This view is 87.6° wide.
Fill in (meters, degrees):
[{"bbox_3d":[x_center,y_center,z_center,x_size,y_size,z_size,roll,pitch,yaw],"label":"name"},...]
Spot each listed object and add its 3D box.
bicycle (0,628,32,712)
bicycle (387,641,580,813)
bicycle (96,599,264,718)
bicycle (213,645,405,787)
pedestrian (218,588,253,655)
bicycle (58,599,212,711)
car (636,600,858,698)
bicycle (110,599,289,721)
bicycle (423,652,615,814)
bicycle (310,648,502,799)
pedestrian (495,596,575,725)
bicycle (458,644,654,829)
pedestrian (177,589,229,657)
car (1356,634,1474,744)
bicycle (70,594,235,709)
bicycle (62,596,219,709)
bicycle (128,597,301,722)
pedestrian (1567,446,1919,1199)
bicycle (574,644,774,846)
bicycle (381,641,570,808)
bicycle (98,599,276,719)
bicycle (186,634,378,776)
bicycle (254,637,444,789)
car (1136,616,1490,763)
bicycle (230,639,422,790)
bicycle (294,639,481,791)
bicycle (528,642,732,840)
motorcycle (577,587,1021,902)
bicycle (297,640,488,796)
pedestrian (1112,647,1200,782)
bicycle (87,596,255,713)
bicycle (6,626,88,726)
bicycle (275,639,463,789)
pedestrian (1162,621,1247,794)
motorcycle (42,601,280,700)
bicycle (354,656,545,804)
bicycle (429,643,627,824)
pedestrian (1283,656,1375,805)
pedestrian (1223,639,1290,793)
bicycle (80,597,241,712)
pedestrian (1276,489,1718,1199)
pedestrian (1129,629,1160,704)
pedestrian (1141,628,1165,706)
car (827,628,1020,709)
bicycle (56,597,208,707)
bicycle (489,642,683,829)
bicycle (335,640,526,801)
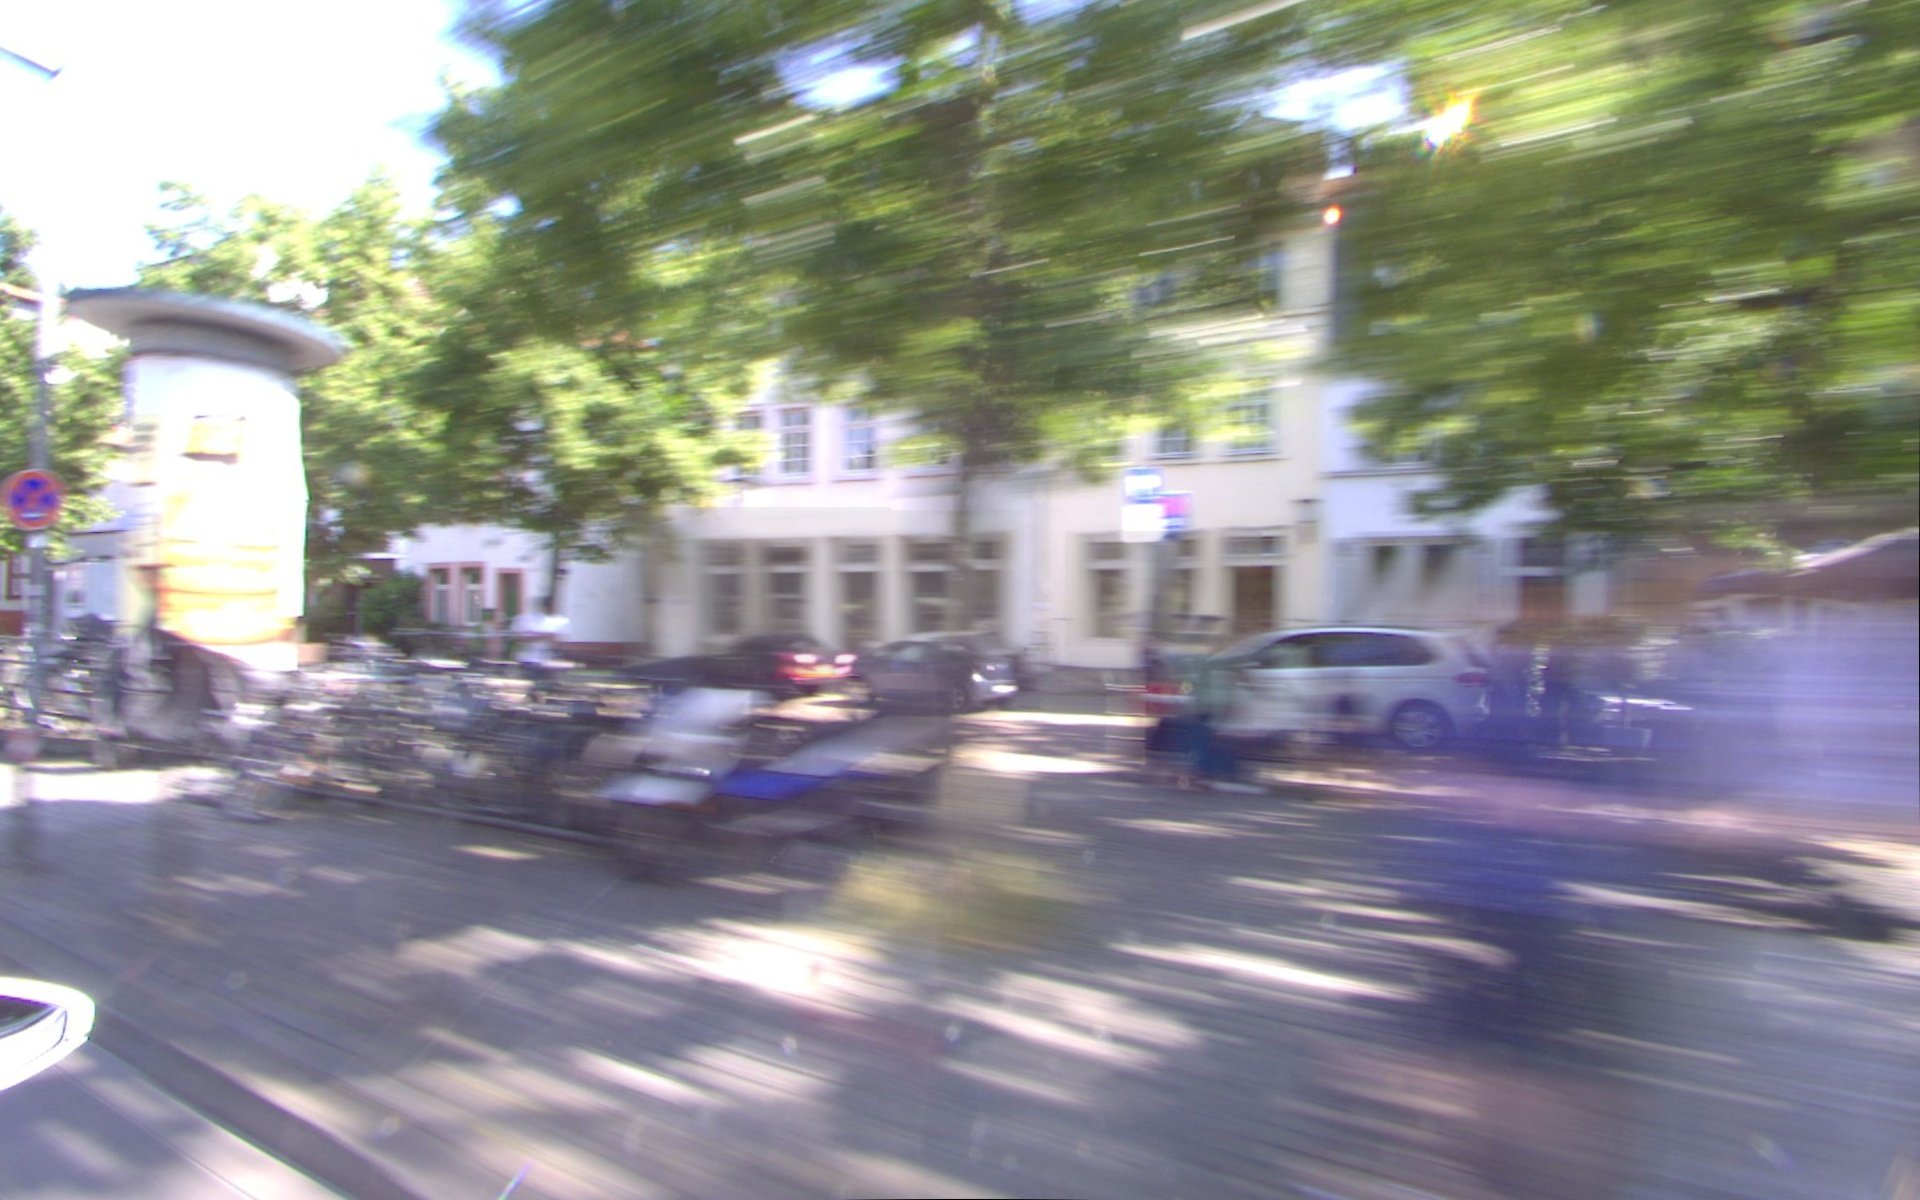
[{"bbox_3d":[-12.244,0.867,12.690,1.466,1.023,0.250,0,-2,29],"label":"bicycle"},{"bbox_3d":[-3.496,0.883,7.475,0.247,1.134,1.484,0,-1,25],"label":"bicycle"},{"bbox_3d":[-10.513,0.775,13.572,0.265,1.502,1.825,0,-2,28],"label":"bicycle"},{"bbox_3d":[-5.644,0.968,8.778,0.247,1.134,1.484,0,-2,25],"label":"bicycle"},{"bbox_3d":[-22.149,0.665,30.635,0.635,2.039,0.634,0,-2,31],"label":"pedestrian"},{"bbox_3d":[-11.746,0.769,14.325,0.265,1.502,1.705,0,-2,28],"label":"bicycle"},{"bbox_3d":[-4.715,1.027,22.061,4.561,1.926,1.993,0,-2,28],"label":"car"},{"bbox_3d":[-10.012,0.772,13.275,0.306,1.502,1.924,0,-2,28],"label":"bicycle"},{"bbox_3d":[-3.228,0.934,7.465,0.289,1.045,1.484,0,-1,25],"label":"bicycle"},{"bbox_3d":[-4.365,0.933,7.997,0.247,1.060,1.484,0,-1,25],"label":"bicycle"},{"bbox_3d":[-5.707,0.800,13.454,0.697,1.674,0.706,0,-1,34],"label":"pedestrian"},{"bbox_3d":[-2.794,0.897,7.066,0.289,1.134,1.484,0,-1,25],"label":"bicycle"},{"bbox_3d":[-21.929,0.675,29.024,0.736,1.939,0.967,0,-2,31],"label":"pedestrian"},{"bbox_3d":[8.008,1.445,17.460,1.596,1.452,3.737,4,2,28],"label":"car"},{"bbox_3d":[-11.264,0.710,14.042,0.265,1.502,1.825,0,-2,28],"label":"bicycle"},{"bbox_3d":[-11.527,0.726,14.150,0.265,1.502,1.721,0,-2,28],"label":"bicycle"},{"bbox_3d":[-9.553,0.751,12.919,0.265,1.502,1.825,0,-2,28],"label":"bicycle"},{"bbox_3d":[1.874,0.610,2.253,0.751,1.795,0.694,1,0,23],"label":"pedestrian"},{"bbox_3d":[-1.791,0.864,6.483,0.289,1.134,1.483,0,-1,28],"label":"bicycle"},{"bbox_3d":[-3.670,0.897,7.707,0.247,1.134,1.484,0,-1,25],"label":"bicycle"},{"bbox_3d":[-10.278,0.773,13.409,0.277,1.502,1.924,0,-2,28],"label":"bicycle"},{"bbox_3d":[-5.949,0.887,8.877,0.247,1.147,1.485,0,-2,24],"label":"bicycle"},{"bbox_3d":[-5.137,0.909,8.521,0.247,1.135,1.484,0,0,25],"label":"bicycle"},{"bbox_3d":[4.947,1.150,14.212,4.499,1.751,1.767,0,-2,30],"label":"car"},{"bbox_3d":[-5.397,0.931,8.618,0.247,1.135,1.483,0,1,25],"label":"bicycle"},{"bbox_3d":[-4.726,0.908,8.369,0.247,1.134,1.484,0,-1,25],"label":"bicycle"},{"bbox_3d":[-2.130,0.862,6.650,0.372,1.134,1.484,0,-1,25],"label":"bicycle"},{"bbox_3d":[-0.856,0.698,5.452,2.259,1.484,0.763,0,-1,-19],"label":"motorcycle"},{"bbox_3d":[-4.560,0.904,8.147,0.247,1.134,1.484,0,-1,25],"label":"bicycle"},{"bbox_3d":[2.007,1.148,10.211,0.741,1.297,0.627,1,-3,23],"label":"pedestrian"},{"bbox_3d":[-10.761,0.734,13.739,0.281,1.502,1.829,0,-2,28],"label":"bicycle"},{"bbox_3d":[-10.913,0.889,11.960,1.466,1.134,0.250,0,-2,29],"label":"bicycle"},{"bbox_3d":[-4.929,0.905,8.446,0.247,1.134,1.484,0,-1,25],"label":"bicycle"},{"bbox_3d":[2.277,0.975,9.303,0.679,1.536,0.459,1,-2,23],"label":"pedestrian"},{"bbox_3d":[-12.356,0.777,15.608,2.812,1.416,0.819,2,-2,-41],"label":"motorcycle"},{"bbox_3d":[-3.921,0.960,7.804,0.247,0.992,1.484,0,-1,25],"label":"bicycle"},{"bbox_3d":[-3.047,0.895,7.200,0.289,1.134,1.484,0,-1,25],"label":"bicycle"},{"bbox_3d":[3.394,1.162,9.201,0.751,1.268,0.694,1,-1,23],"label":"pedestrian"},{"bbox_3d":[2.852,1.091,9.607,0.532,1.399,0.627,1,-3,23],"label":"pedestrian"},{"bbox_3d":[-11.046,0.737,13.911,0.265,1.502,1.773,0,-2,28],"label":"bicycle"},{"bbox_3d":[1.151,0.651,2.287,0.751,1.699,0.694,1,0,23],"label":"pedestrian"},{"bbox_3d":[3.985,1.424,21.631,0.530,1.581,0.570,1,-2,23],"label":"pedestrian"},{"bbox_3d":[3.974,1.368,20.595,0.399,1.582,0.411,1,0,23],"label":"pedestrian"},{"bbox_3d":[-0.721,1.307,19.702,3.417,1.450,1.674,0,-2,28],"label":"car"},{"bbox_3d":[-11.963,0.744,14.529,0.265,1.502,1.705,0,-2,28],"label":"bicycle"},{"bbox_3d":[-2.530,0.869,6.937,0.289,1.134,1.484,0,-1,25],"label":"bicycle"},{"bbox_3d":[-4.132,0.893,7.922,0.247,1.134,1.484,0,-1,25],"label":"bicycle"}]
